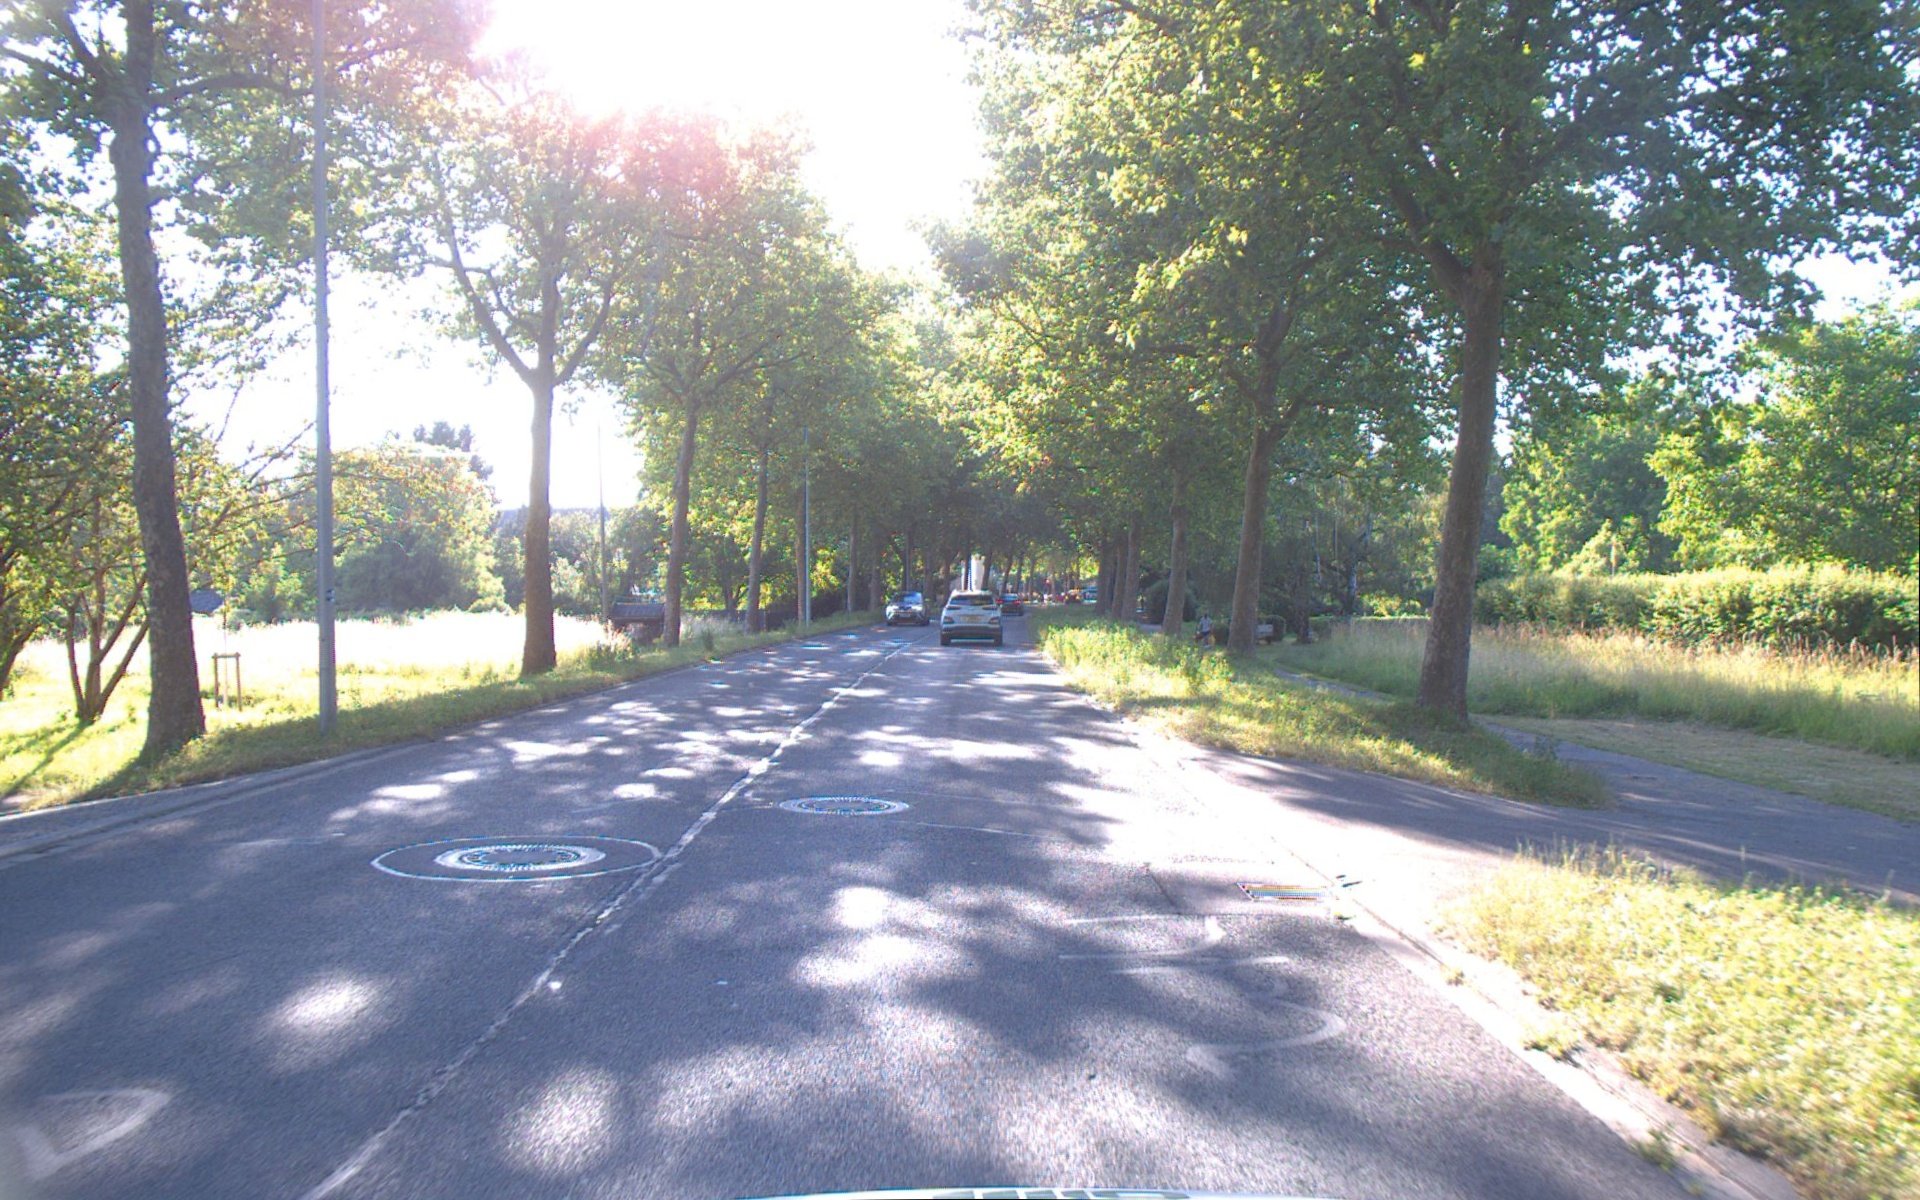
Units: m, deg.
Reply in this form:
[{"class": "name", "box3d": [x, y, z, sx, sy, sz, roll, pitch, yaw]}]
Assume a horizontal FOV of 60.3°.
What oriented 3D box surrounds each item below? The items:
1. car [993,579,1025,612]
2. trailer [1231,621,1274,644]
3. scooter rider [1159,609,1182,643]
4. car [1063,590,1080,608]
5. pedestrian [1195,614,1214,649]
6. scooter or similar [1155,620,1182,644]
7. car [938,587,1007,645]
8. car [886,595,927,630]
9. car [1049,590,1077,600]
[{"class": "car", "box3d": [3.237, -0.271, 108.042, 1.952, 2.049, 4.002, 1, 0, 3]}, {"class": "trailer", "box3d": [14.560, 1.615, 82.386, 2.072, 1.071, 1.201, 1, 0, 7]}, {"class": "scooter rider", "box3d": [10.098, 1.254, 79.355, 0.838, 1.604, 0.772, 1, -1, -43]}, {"class": "car", "box3d": [13.177, -0.077, 195.572, 1.952, 2.049, 4.002, 1, 0, 3]}, {"class": "pedestrian", "box3d": [11.402, 1.474, 77.161, 0.824, 1.604, 1.208, 1, -1, 11]}, {"class": "scooter or similar", "box3d": [9.982, 1.523, 79.196, 1.586, 1.155, 0.335, 1, -1, -42]}, {"class": "car", "box3d": [0.386, 0.462, 48.688, 1.952, 1.602, 4.000, 1, 0, 1]}, {"class": "car", "box3d": [-2.419, 0.574, 75.646, 1.680, 1.531, 4.000, 1, 0, 1]}, {"class": "car", "box3d": [15.509, -0.719, 248.824, 3.902, 1.504, 2.002, 1, 0, 10]}]
